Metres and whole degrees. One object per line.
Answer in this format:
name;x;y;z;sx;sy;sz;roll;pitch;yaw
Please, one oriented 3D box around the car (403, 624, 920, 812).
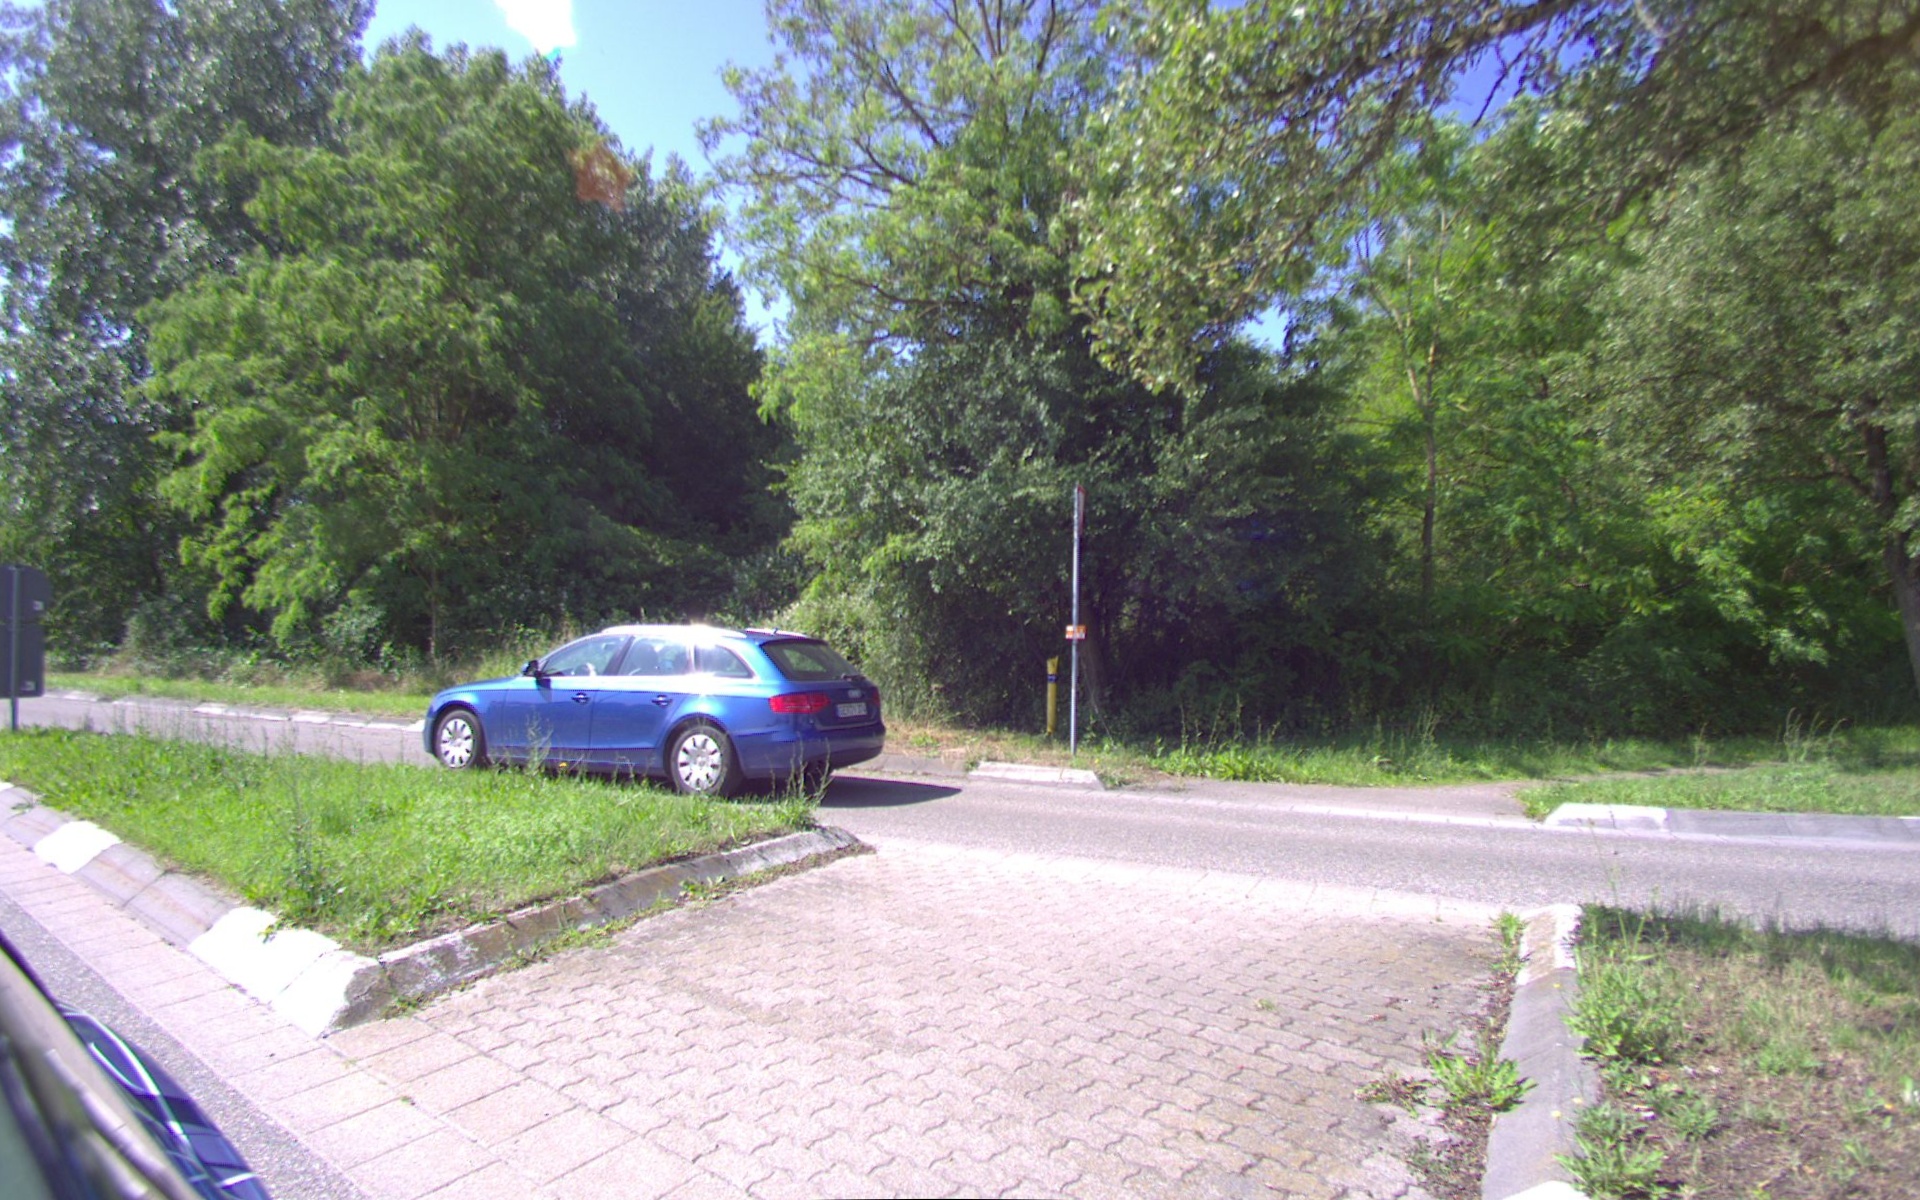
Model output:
car;-2.730;0.954;9.281;4.394;1.398;1.825;-1;-3;23
